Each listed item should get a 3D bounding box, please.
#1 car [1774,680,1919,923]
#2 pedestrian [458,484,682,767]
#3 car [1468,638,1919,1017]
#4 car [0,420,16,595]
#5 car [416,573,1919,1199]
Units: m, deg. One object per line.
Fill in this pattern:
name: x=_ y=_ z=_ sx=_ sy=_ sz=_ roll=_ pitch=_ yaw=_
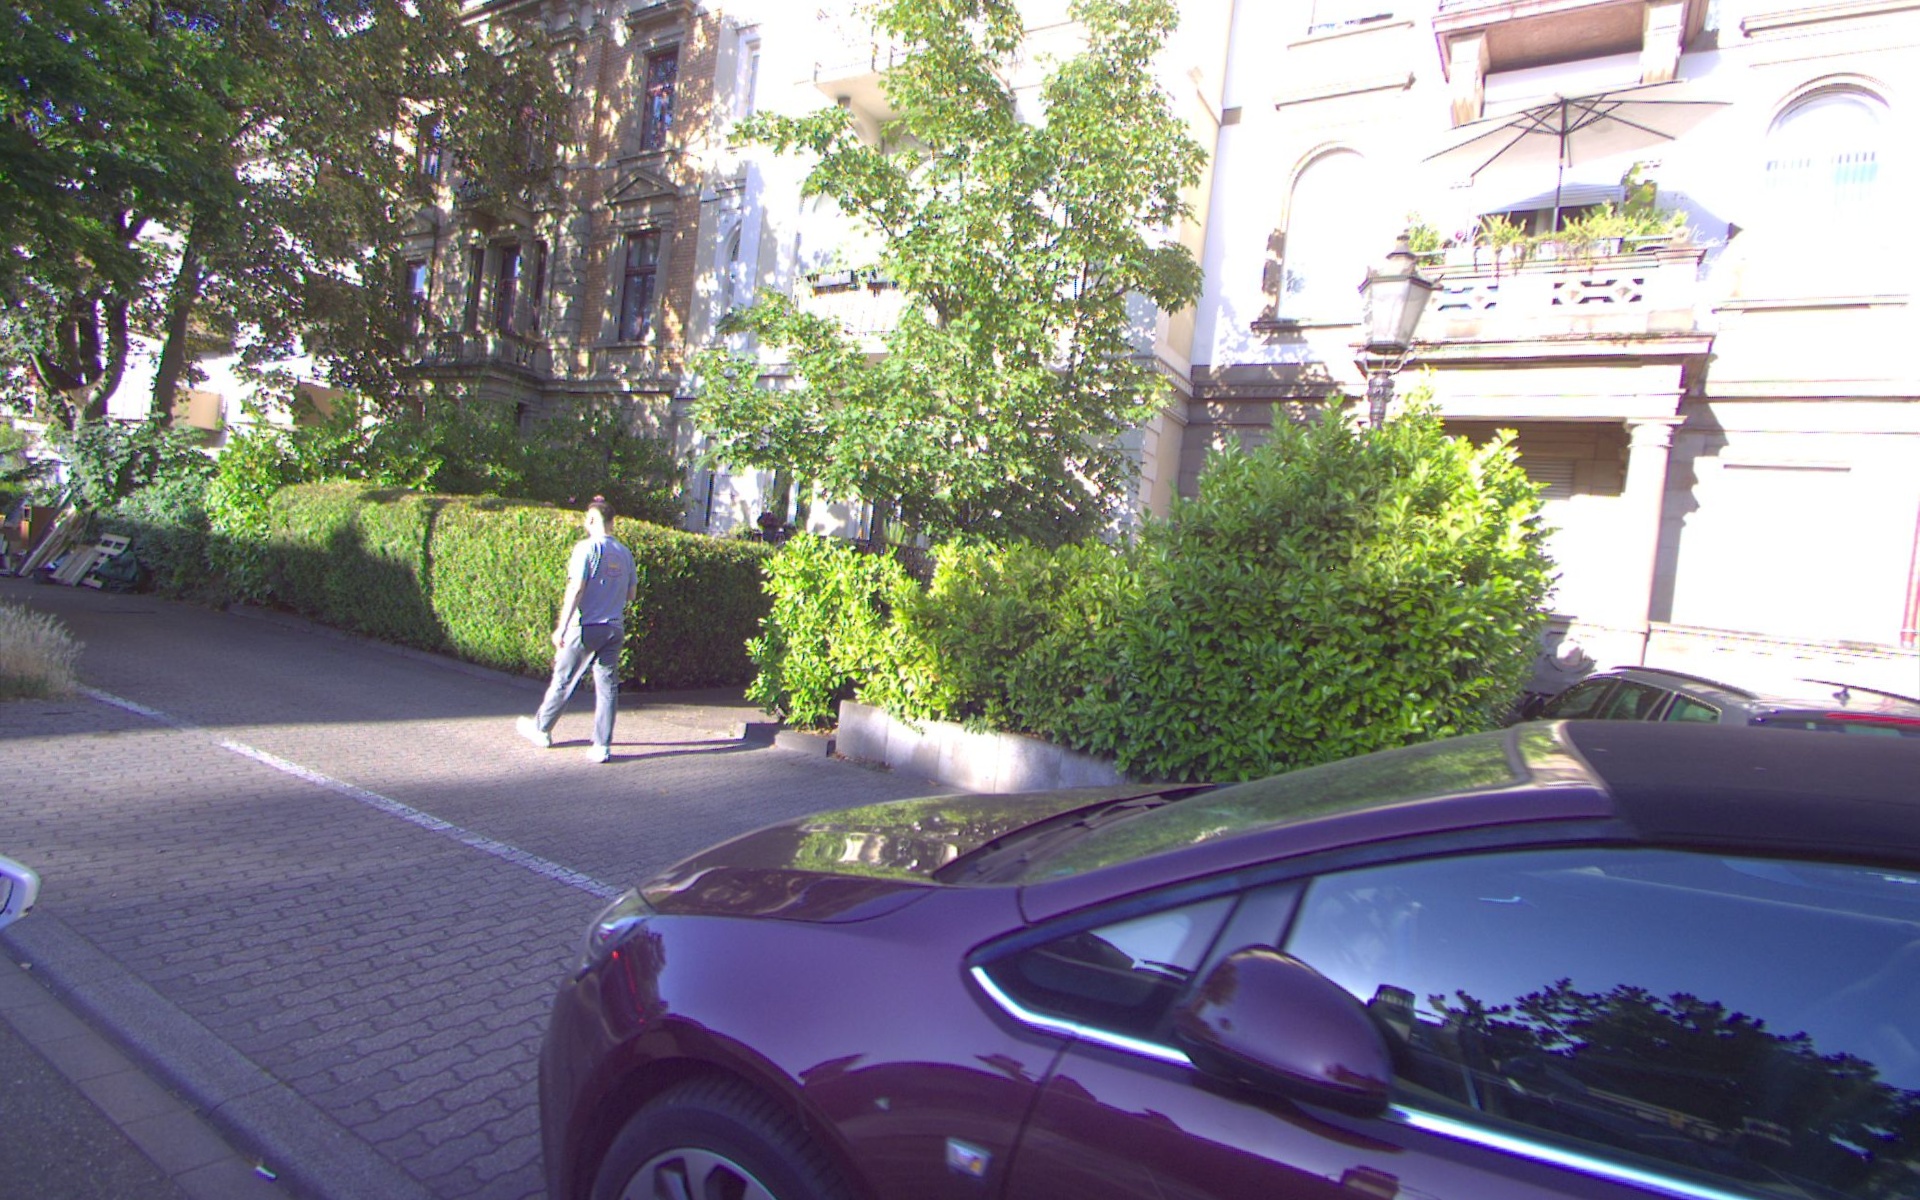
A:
car: x=7.023 y=1.469 z=5.757 sx=1.684 sy=1.460 sz=4.098 roll=7 pitch=2 yaw=9
pedestrian: x=-2.761 y=0.165 z=7.144 sx=1.070 sy=1.796 sz=0.822 roll=7 pitch=1 yaw=28
car: x=5.032 y=1.203 z=6.803 sx=1.758 sy=1.531 sz=4.249 roll=7 pitch=2 yaw=13
car: x=-11.460 y=-0.909 z=9.852 sx=4.562 sy=2.129 sz=1.905 roll=7 pitch=0 yaw=30
car: x=1.303 y=0.915 z=1.610 sx=4.538 sy=1.439 sz=1.757 roll=7 pitch=2 yaw=31
